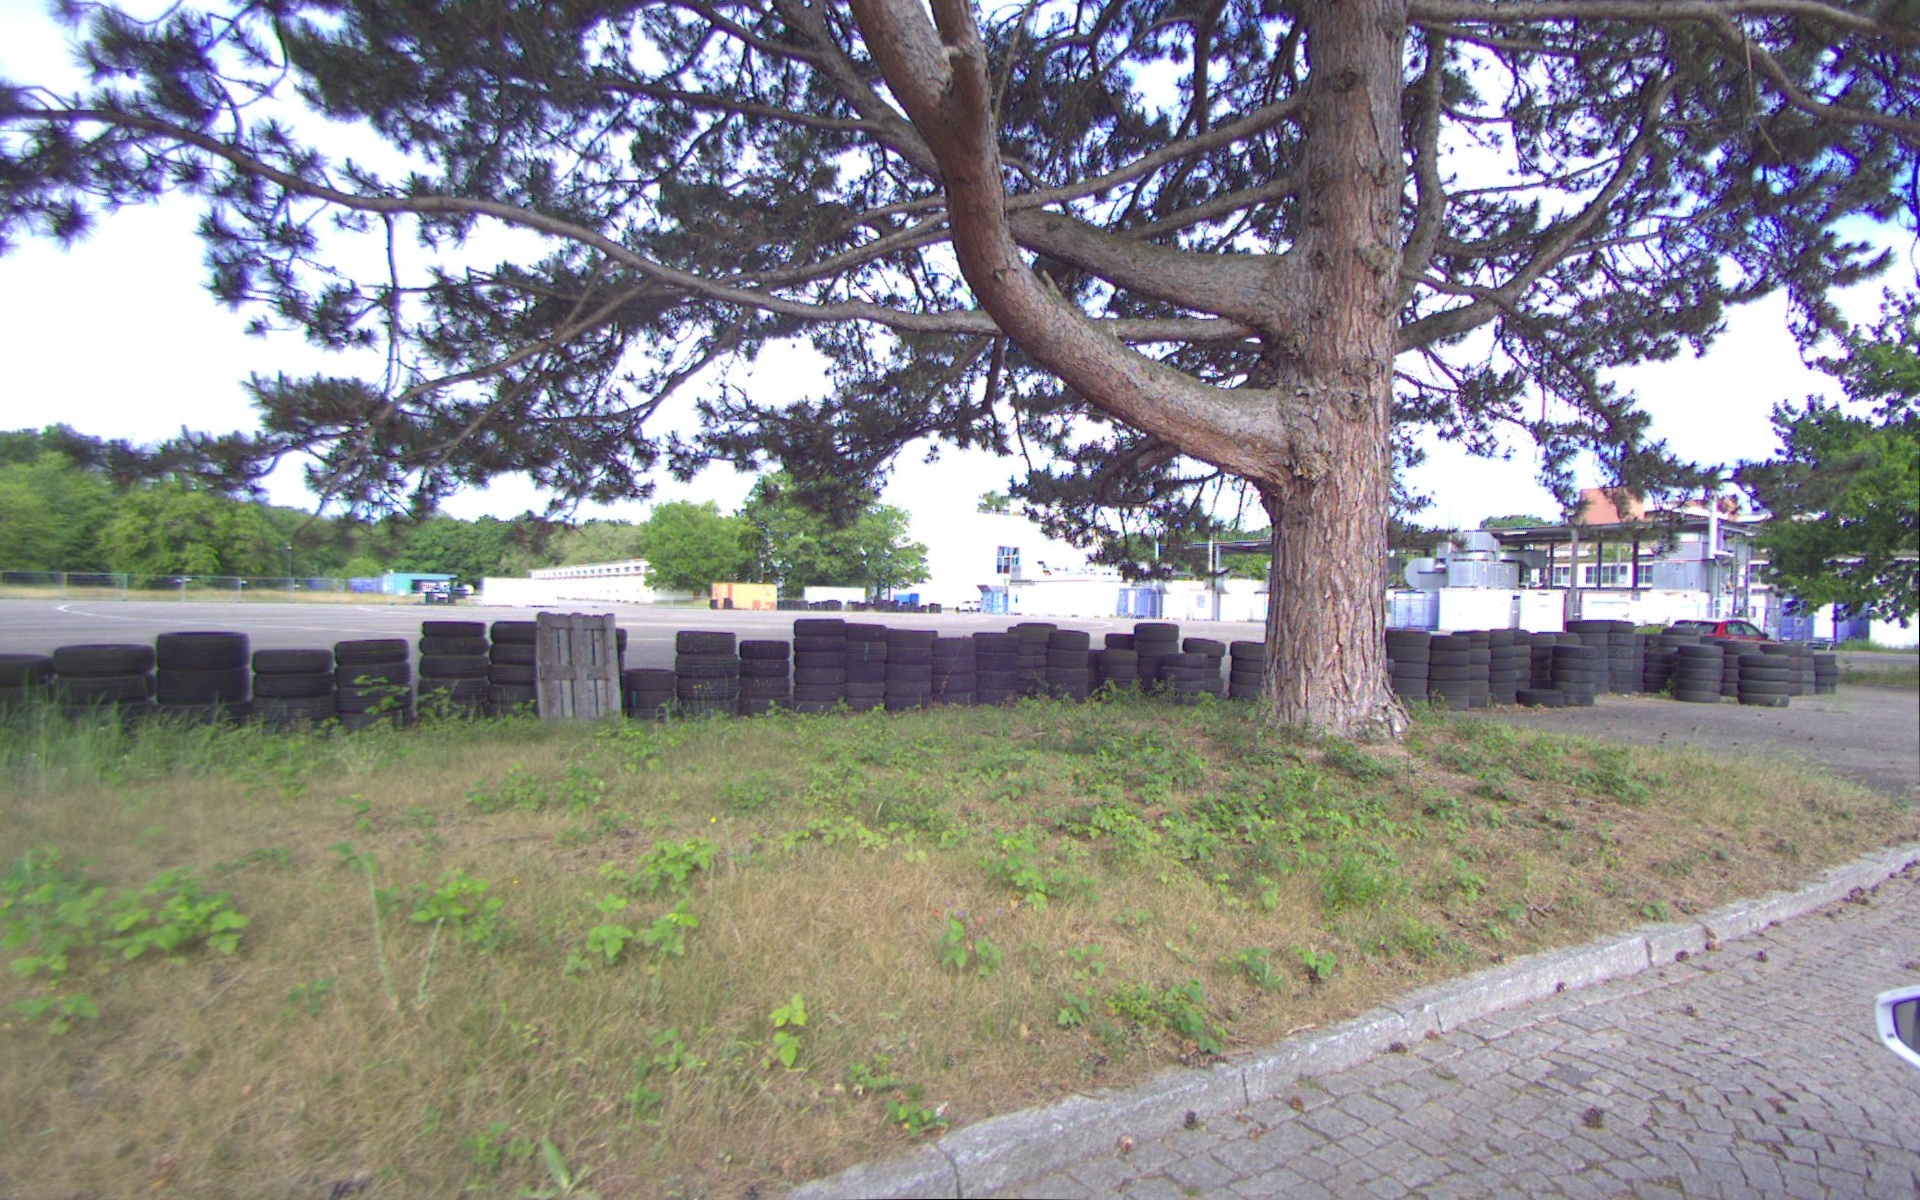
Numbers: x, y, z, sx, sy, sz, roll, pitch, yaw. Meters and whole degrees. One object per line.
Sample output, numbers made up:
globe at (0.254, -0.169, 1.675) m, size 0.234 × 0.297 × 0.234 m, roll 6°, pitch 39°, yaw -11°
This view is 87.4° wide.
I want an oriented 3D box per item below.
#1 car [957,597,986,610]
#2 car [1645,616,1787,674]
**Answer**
car at (1.364, 0.423, 121.196) m, size 1.613 × 1.553 × 3.942 m, roll 1°, pitch 0°, yaw -33°
car at (20.717, 1.210, 27.523) m, size 3.442 × 1.472 × 1.761 m, roll 1°, pitch 0°, yaw -27°
